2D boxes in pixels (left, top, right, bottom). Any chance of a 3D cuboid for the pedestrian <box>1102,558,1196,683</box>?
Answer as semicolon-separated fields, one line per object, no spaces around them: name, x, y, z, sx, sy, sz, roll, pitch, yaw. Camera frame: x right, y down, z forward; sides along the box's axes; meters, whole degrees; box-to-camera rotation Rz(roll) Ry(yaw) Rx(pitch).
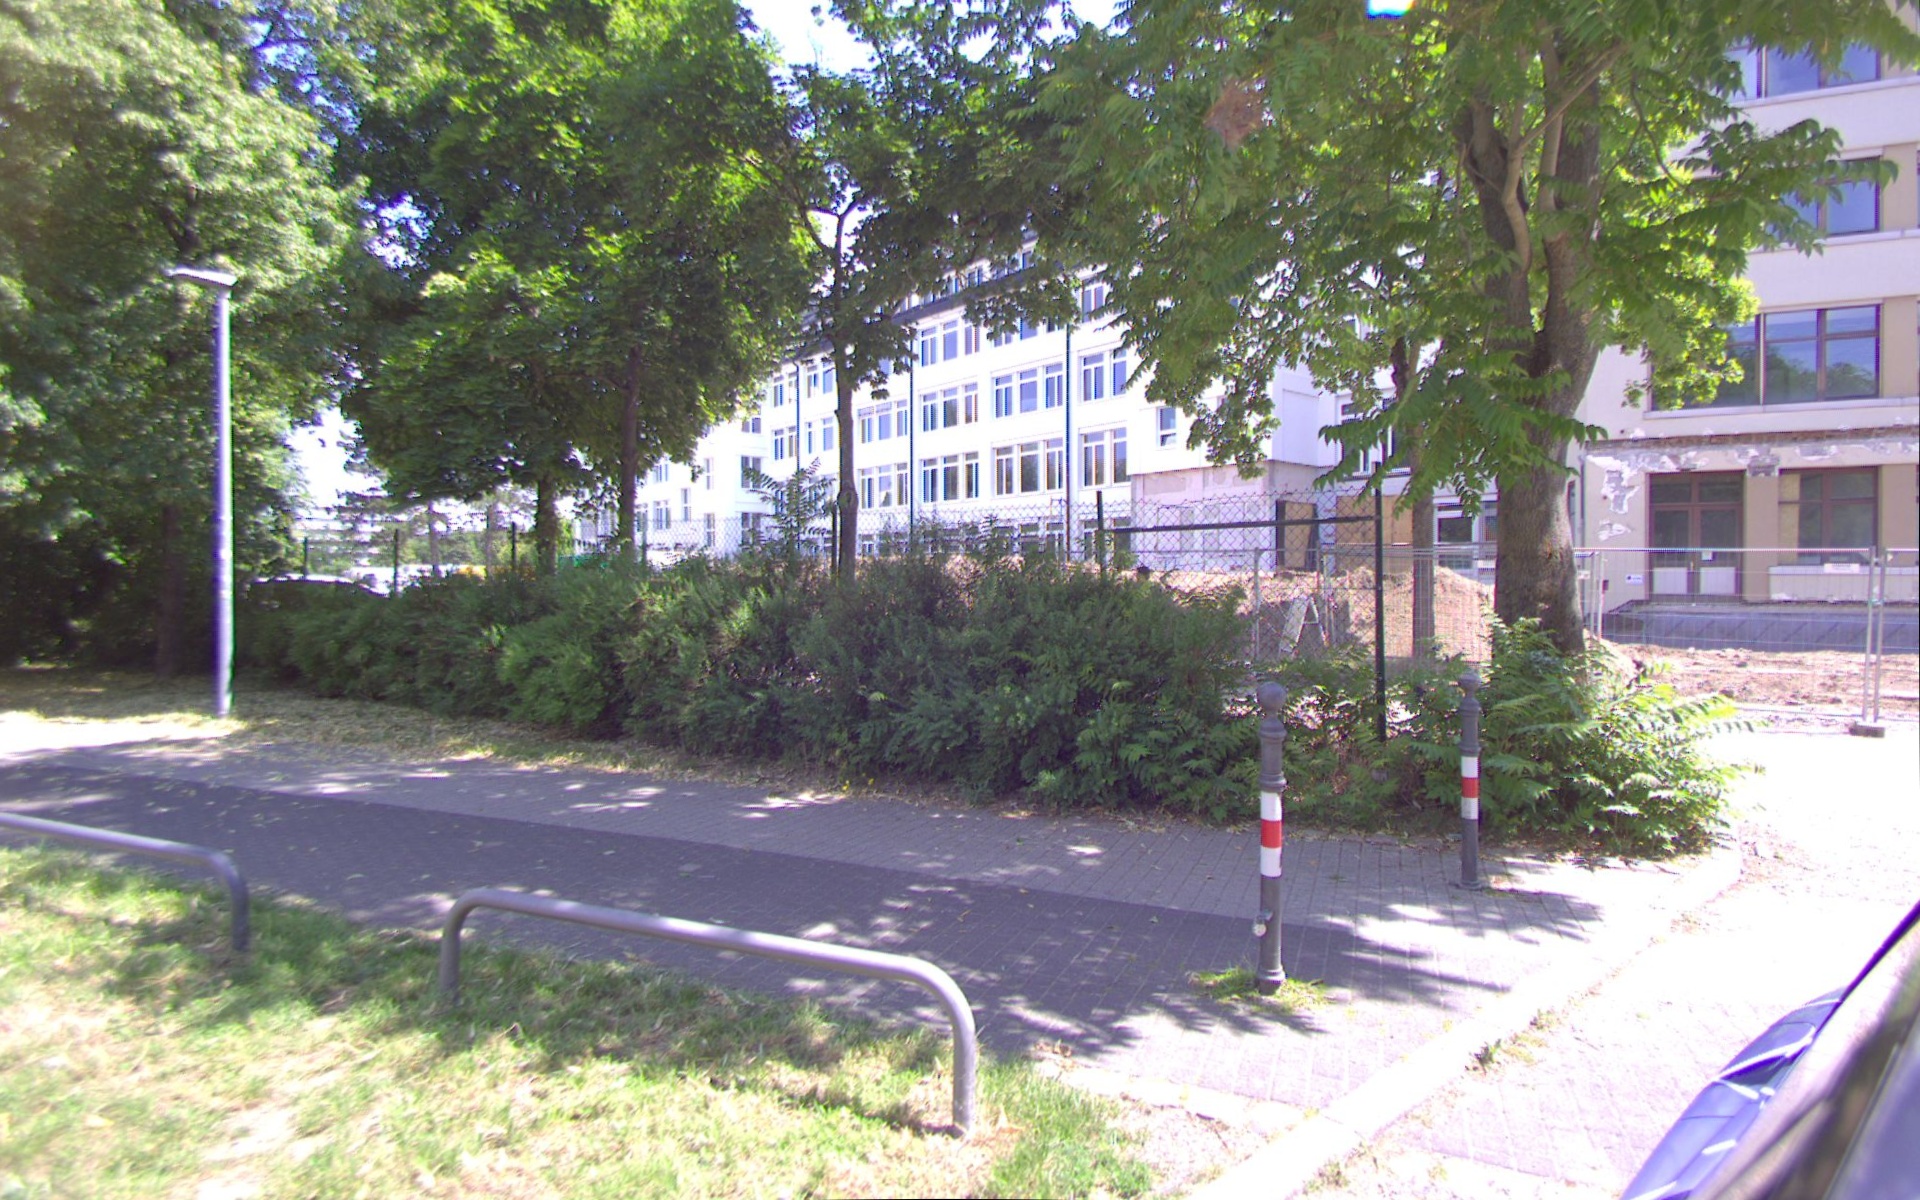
pedestrian;2.777;0.269;14.892;1.075;1.751;0.864;1;1;39
